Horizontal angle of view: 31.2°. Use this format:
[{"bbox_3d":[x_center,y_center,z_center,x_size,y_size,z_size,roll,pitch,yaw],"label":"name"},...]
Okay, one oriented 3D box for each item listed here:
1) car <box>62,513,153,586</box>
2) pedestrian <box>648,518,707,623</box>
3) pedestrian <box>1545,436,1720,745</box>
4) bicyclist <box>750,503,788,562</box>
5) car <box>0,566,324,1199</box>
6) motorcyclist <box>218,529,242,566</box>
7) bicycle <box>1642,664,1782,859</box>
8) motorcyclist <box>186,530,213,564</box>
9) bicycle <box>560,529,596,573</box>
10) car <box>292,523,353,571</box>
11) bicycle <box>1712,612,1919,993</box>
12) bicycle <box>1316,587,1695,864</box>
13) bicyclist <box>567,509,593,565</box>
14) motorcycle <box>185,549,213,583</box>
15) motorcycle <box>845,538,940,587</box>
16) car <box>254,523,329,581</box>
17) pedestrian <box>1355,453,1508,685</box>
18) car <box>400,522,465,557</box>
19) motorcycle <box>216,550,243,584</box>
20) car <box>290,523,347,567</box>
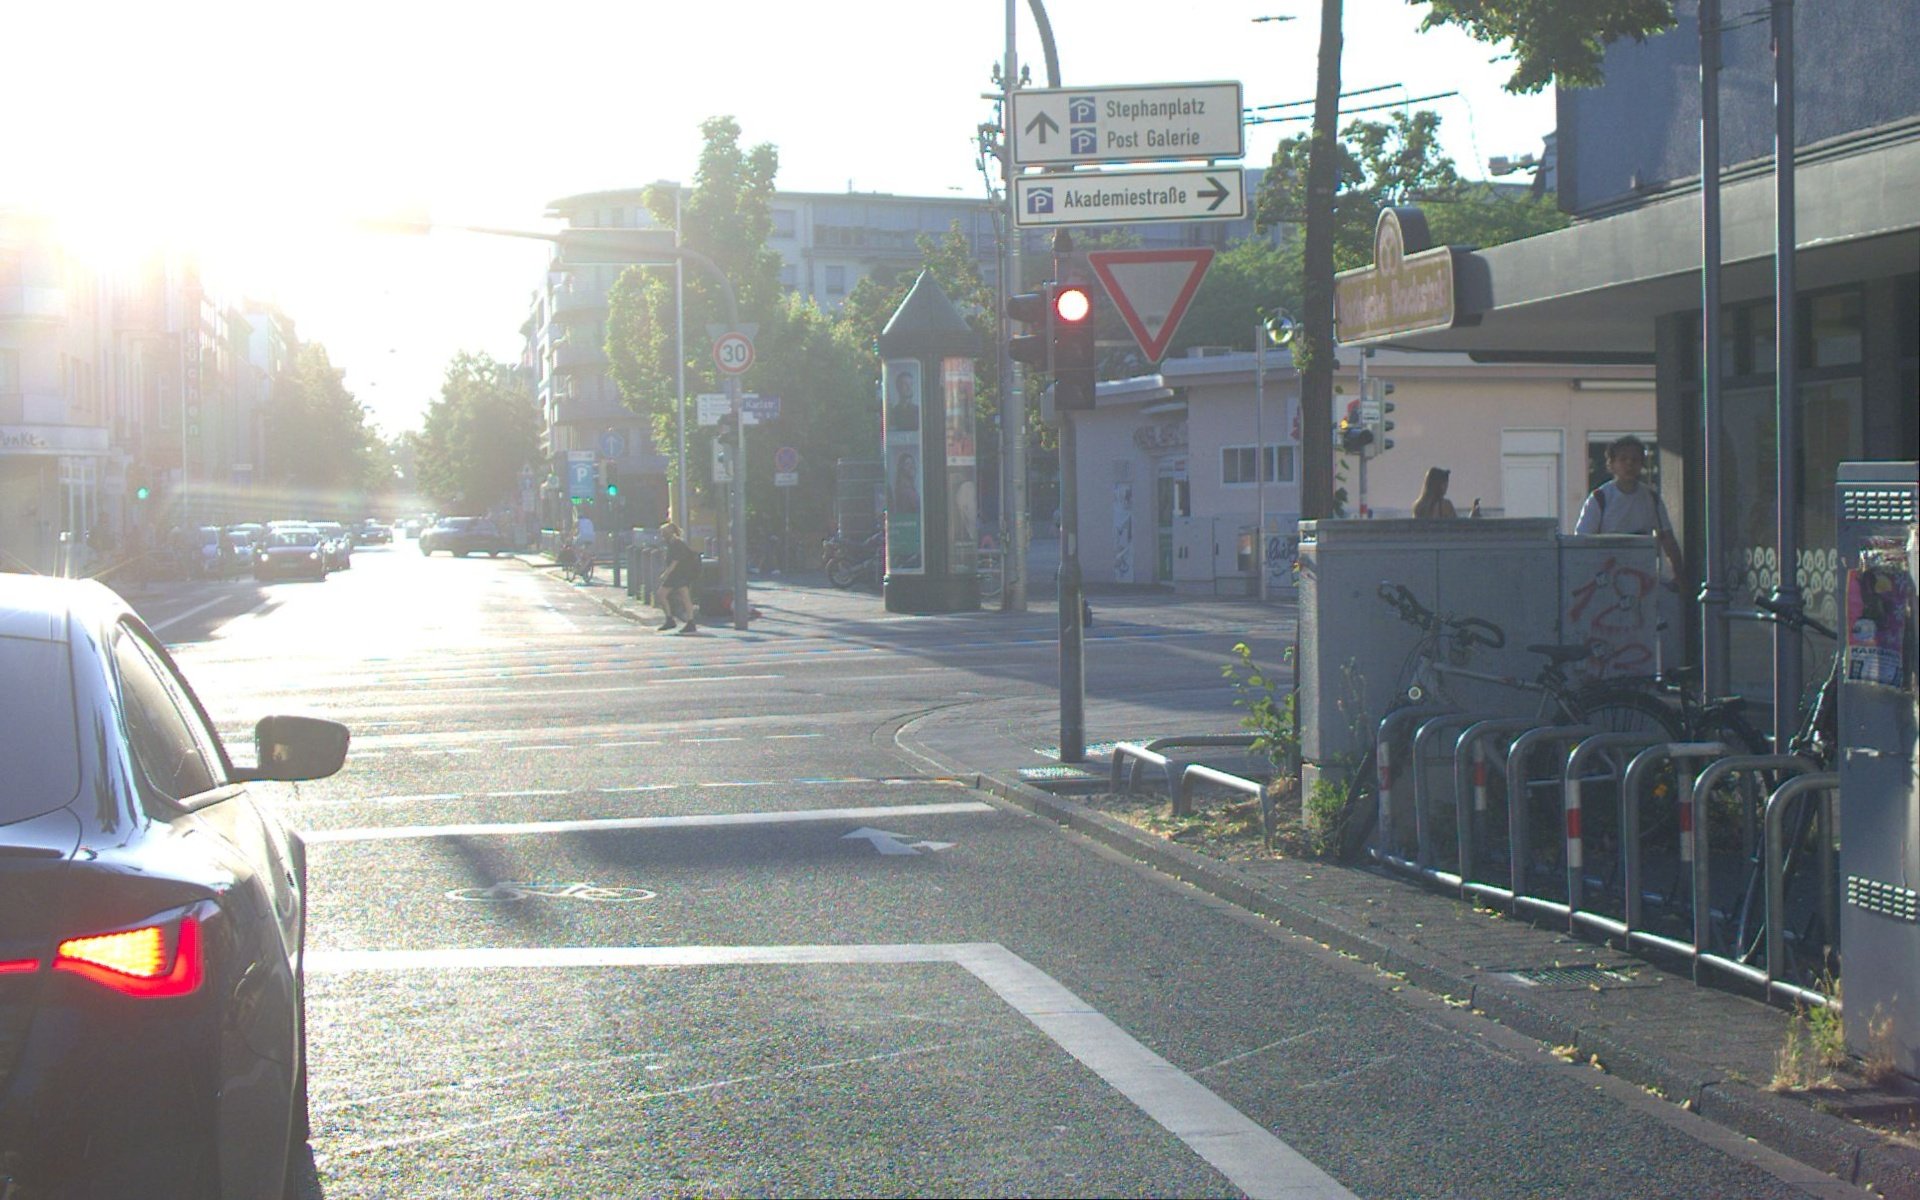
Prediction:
[{"bbox_3d":[-21.577,-1.295,87.109,1.817,1.782,4.001,-1,2,-8],"label":"car"},{"bbox_3d":[-4.112,-0.429,50.041,0.732,1.524,0.473,0,1,-23],"label":"pedestrian"},{"bbox_3d":[4.093,-0.069,20.956,0.835,1.835,0.679,-1,1,-8],"label":"pedestrian"},{"bbox_3d":[-4.906,-1.744,88.421,0.884,1.500,0.612,1,1,3],"label":"bicyclist"},{"bbox_3d":[-2.118,0.671,6.500,1.736,1.424,4.225,0,1,-10],"label":"car"},{"bbox_3d":[-19.892,-1.437,93.666,0.575,0.992,0.703,1,1,-8],"label":"motorcyclist"},{"bbox_3d":[3.348,0.707,15.357,0.249,0.793,1.116,1,1,-7],"label":"bicycle"},{"bbox_3d":[-20.821,-1.459,94.151,0.575,0.912,2.201,1,1,-8],"label":"motorcyclist"},{"bbox_3d":[-10.061,-1.284,90.585,0.550,1.155,2.145,0,1,-17],"label":"bicycle"},{"bbox_3d":[-20.973,-1.770,113.229,1.817,1.514,4.001,-1,2,-8],"label":"car"},{"bbox_3d":[3.244,0.659,11.308,1.440,1.216,0.383,1,1,-7],"label":"bicycle"},{"bbox_3d":[2.402,0.544,15.164,1.612,1.167,0.318,-1,1,-6],"label":"bicycle"},{"bbox_3d":[-9.970,-1.656,90.274,0.550,1.476,0.723,0,0,-17],"label":"bicyclist"},{"bbox_3d":[-20.834,-0.929,94.152,0.575,0.912,2.201,1,1,-8],"label":"motorcycle"},{"bbox_3d":[-1.334,-0.747,67.882,1.668,0.935,0.856,-1,2,-19],"label":"motorcycle"},{"bbox_3d":[-18.362,-1.345,94.554,1.817,1.514,4.001,-1,2,-8],"label":"car"},{"bbox_3d":[3.935,-0.267,28.685,1.001,1.854,0.640,-4,3,-28],"label":"pedestrian"},{"bbox_3d":[-24.324,-2.801,158.597,1.818,1.514,3.999,-1,2,9],"label":"car"},{"bbox_3d":[-19.918,-0.910,93.774,0.575,0.912,2.201,1,1,-8],"label":"motorcycle"},{"bbox_3d":[-23.008,-1.993,123.348,1.817,1.514,4.001,-1,2,-8],"label":"car"}]
